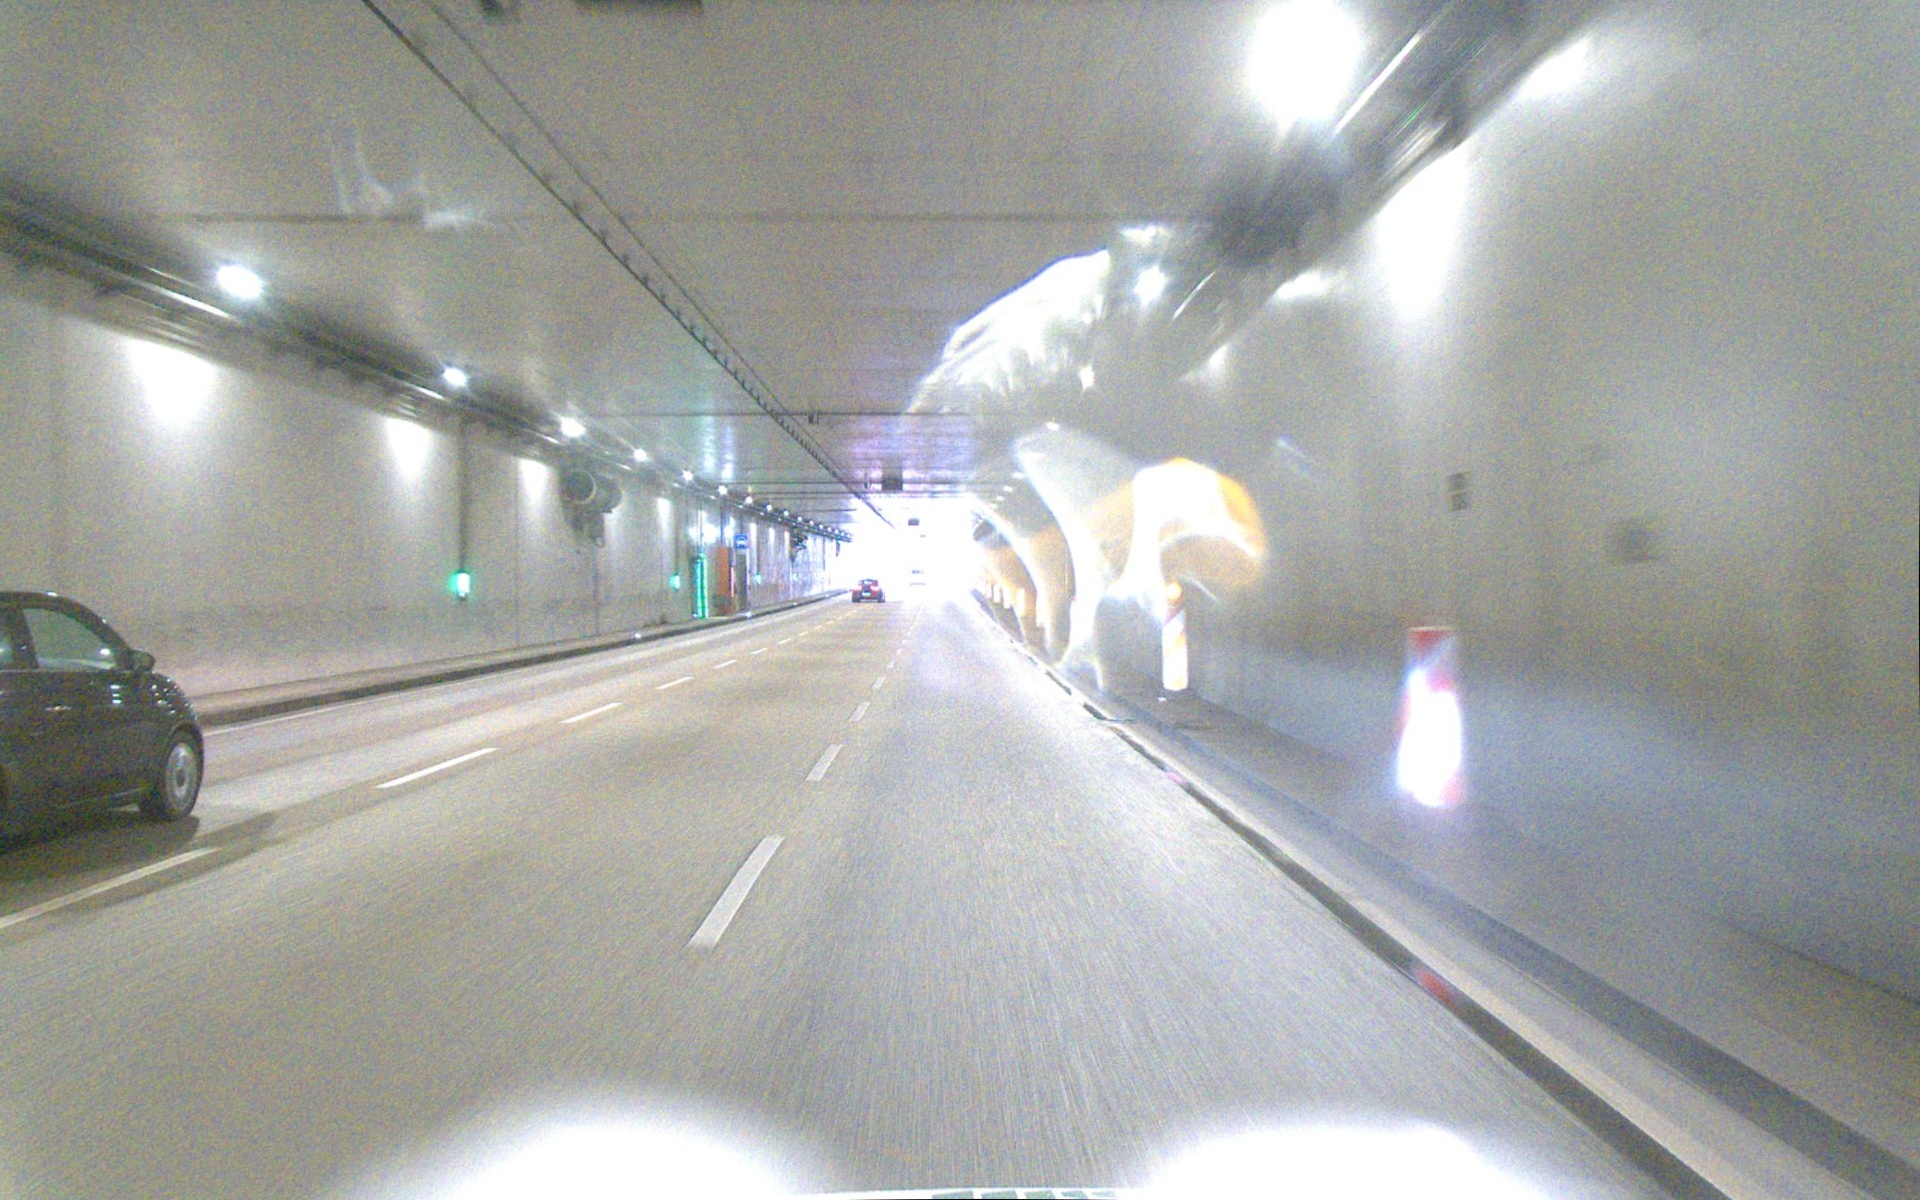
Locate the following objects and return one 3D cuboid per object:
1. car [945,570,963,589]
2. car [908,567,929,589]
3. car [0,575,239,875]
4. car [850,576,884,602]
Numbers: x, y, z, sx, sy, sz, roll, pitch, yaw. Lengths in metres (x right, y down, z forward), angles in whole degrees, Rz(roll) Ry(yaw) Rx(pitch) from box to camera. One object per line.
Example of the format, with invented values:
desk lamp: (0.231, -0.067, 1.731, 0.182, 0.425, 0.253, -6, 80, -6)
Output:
car: (-0.723, -2.253, 184.436, 1.953, 2.049, 3.999, 1, 0, -1)
car: (-4.236, -2.230, 169.196, 1.953, 2.049, 3.999, 1, 0, -1)
car: (-5.617, 0.609, 9.346, 1.580, 1.480, 3.571, 2, 0, -2)
car: (-5.721, -0.674, 101.353, 1.954, 1.473, 4.310, 3, 0, -4)
